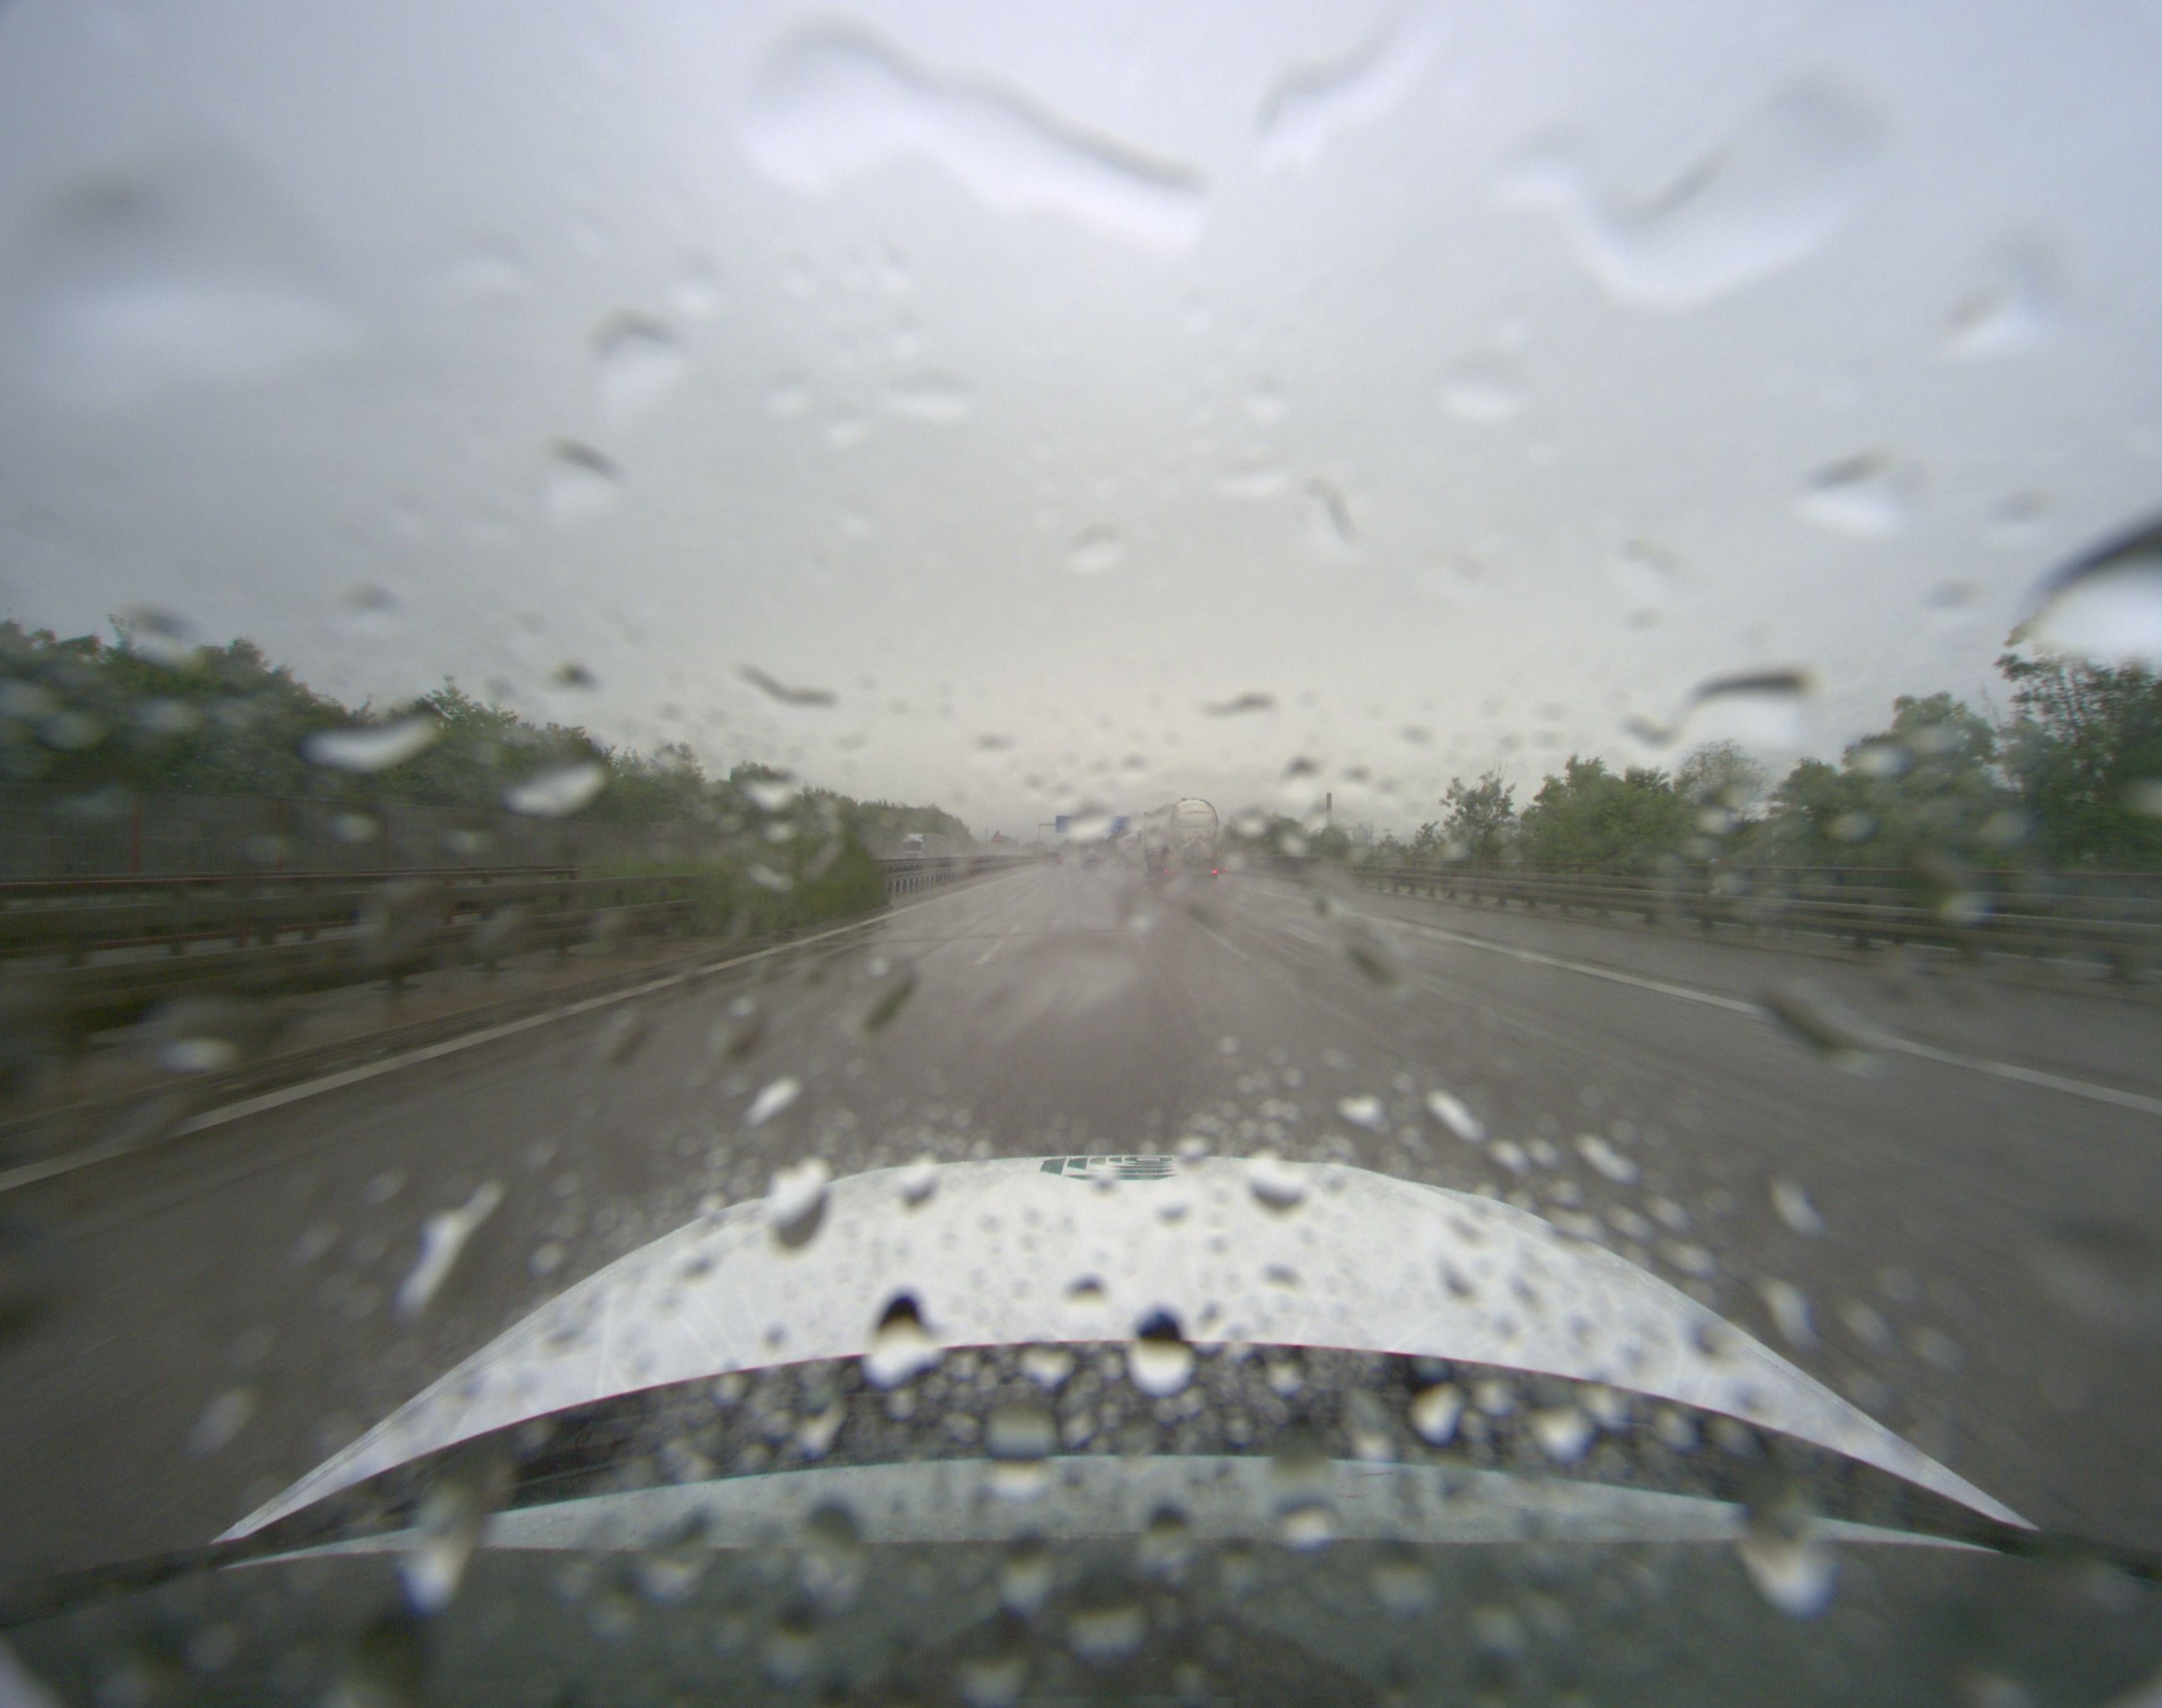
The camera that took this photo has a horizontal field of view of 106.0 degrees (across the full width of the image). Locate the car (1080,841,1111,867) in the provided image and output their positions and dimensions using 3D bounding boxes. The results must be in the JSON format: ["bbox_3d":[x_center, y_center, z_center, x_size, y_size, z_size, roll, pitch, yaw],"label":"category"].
[{"bbox_3d":[1.079,-0.007,58.558,1.970,1.756,4.486,-1,1,4],"label":"car"}]

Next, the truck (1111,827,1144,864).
[{"bbox_3d":[4.752,-0.871,83.951,2.935,3.684,6.358,0,0,-1],"label":"truck"}]

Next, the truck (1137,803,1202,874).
[{"bbox_3d":[5.034,-0.841,47.518,3.094,3.806,7.213,0,0,1],"label":"truck"}]

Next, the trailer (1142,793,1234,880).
[{"bbox_3d":[4.956,-0.763,40.290,3.177,3.670,11.667,0,0,1],"label":"trailer"}]

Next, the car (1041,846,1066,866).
[{"bbox_3d":[-2.460,0.174,73.561,1.918,1.741,4.405,-1,0,1],"label":"car"}]

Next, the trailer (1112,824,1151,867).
[{"bbox_3d":[4.855,-0.823,79.666,2.996,3.847,8.618,-1,0,-1],"label":"trailer"}]
